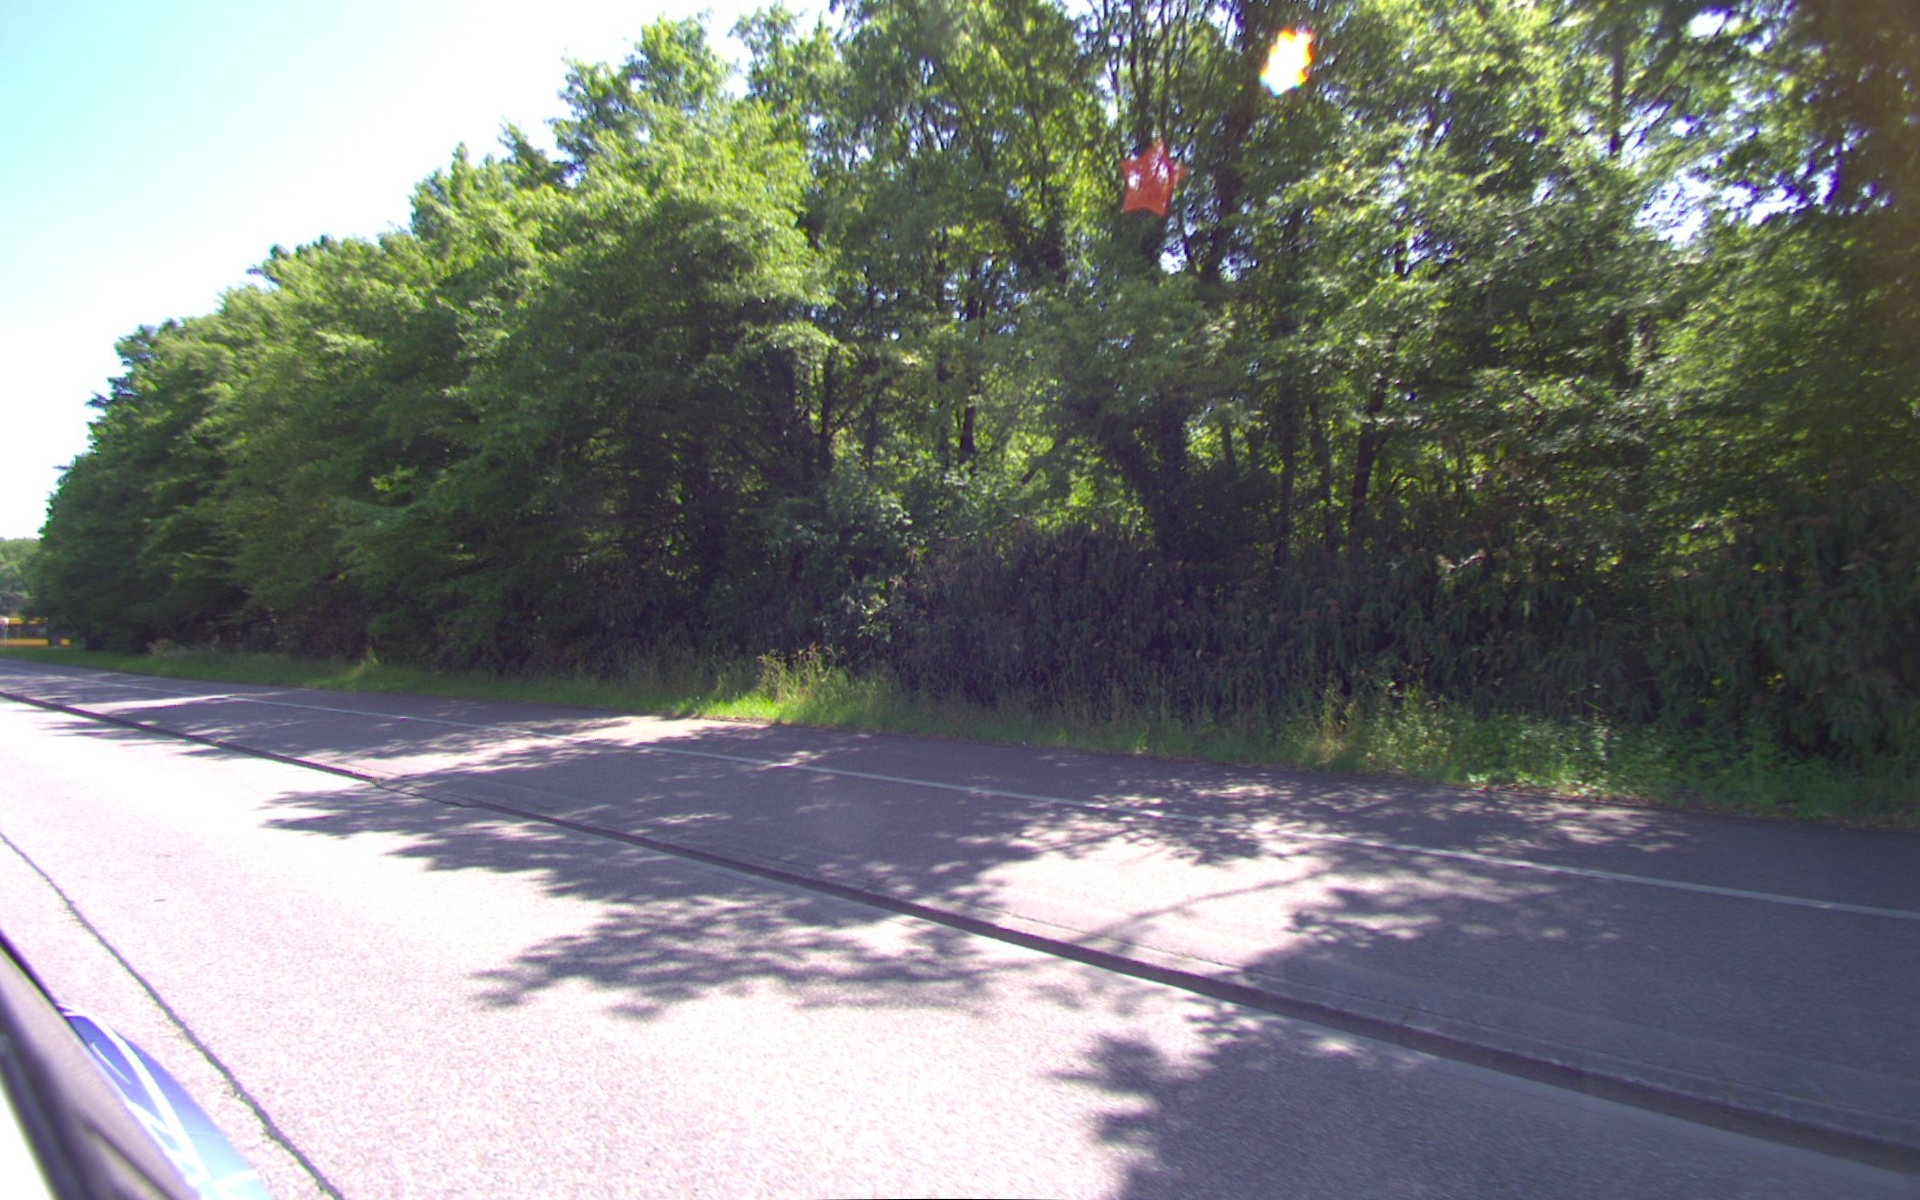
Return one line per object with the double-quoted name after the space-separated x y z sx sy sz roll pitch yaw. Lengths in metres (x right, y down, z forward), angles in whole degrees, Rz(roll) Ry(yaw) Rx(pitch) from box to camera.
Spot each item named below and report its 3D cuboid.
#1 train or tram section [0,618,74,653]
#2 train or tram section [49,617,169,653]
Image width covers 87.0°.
-97.424 3.700 104.420 10.724 3.492 2.645 -1 -1 7 "train or tram section"
-88.442 3.592 105.367 9.191 3.492 2.791 -1 -1 -19 "train or tram section"
